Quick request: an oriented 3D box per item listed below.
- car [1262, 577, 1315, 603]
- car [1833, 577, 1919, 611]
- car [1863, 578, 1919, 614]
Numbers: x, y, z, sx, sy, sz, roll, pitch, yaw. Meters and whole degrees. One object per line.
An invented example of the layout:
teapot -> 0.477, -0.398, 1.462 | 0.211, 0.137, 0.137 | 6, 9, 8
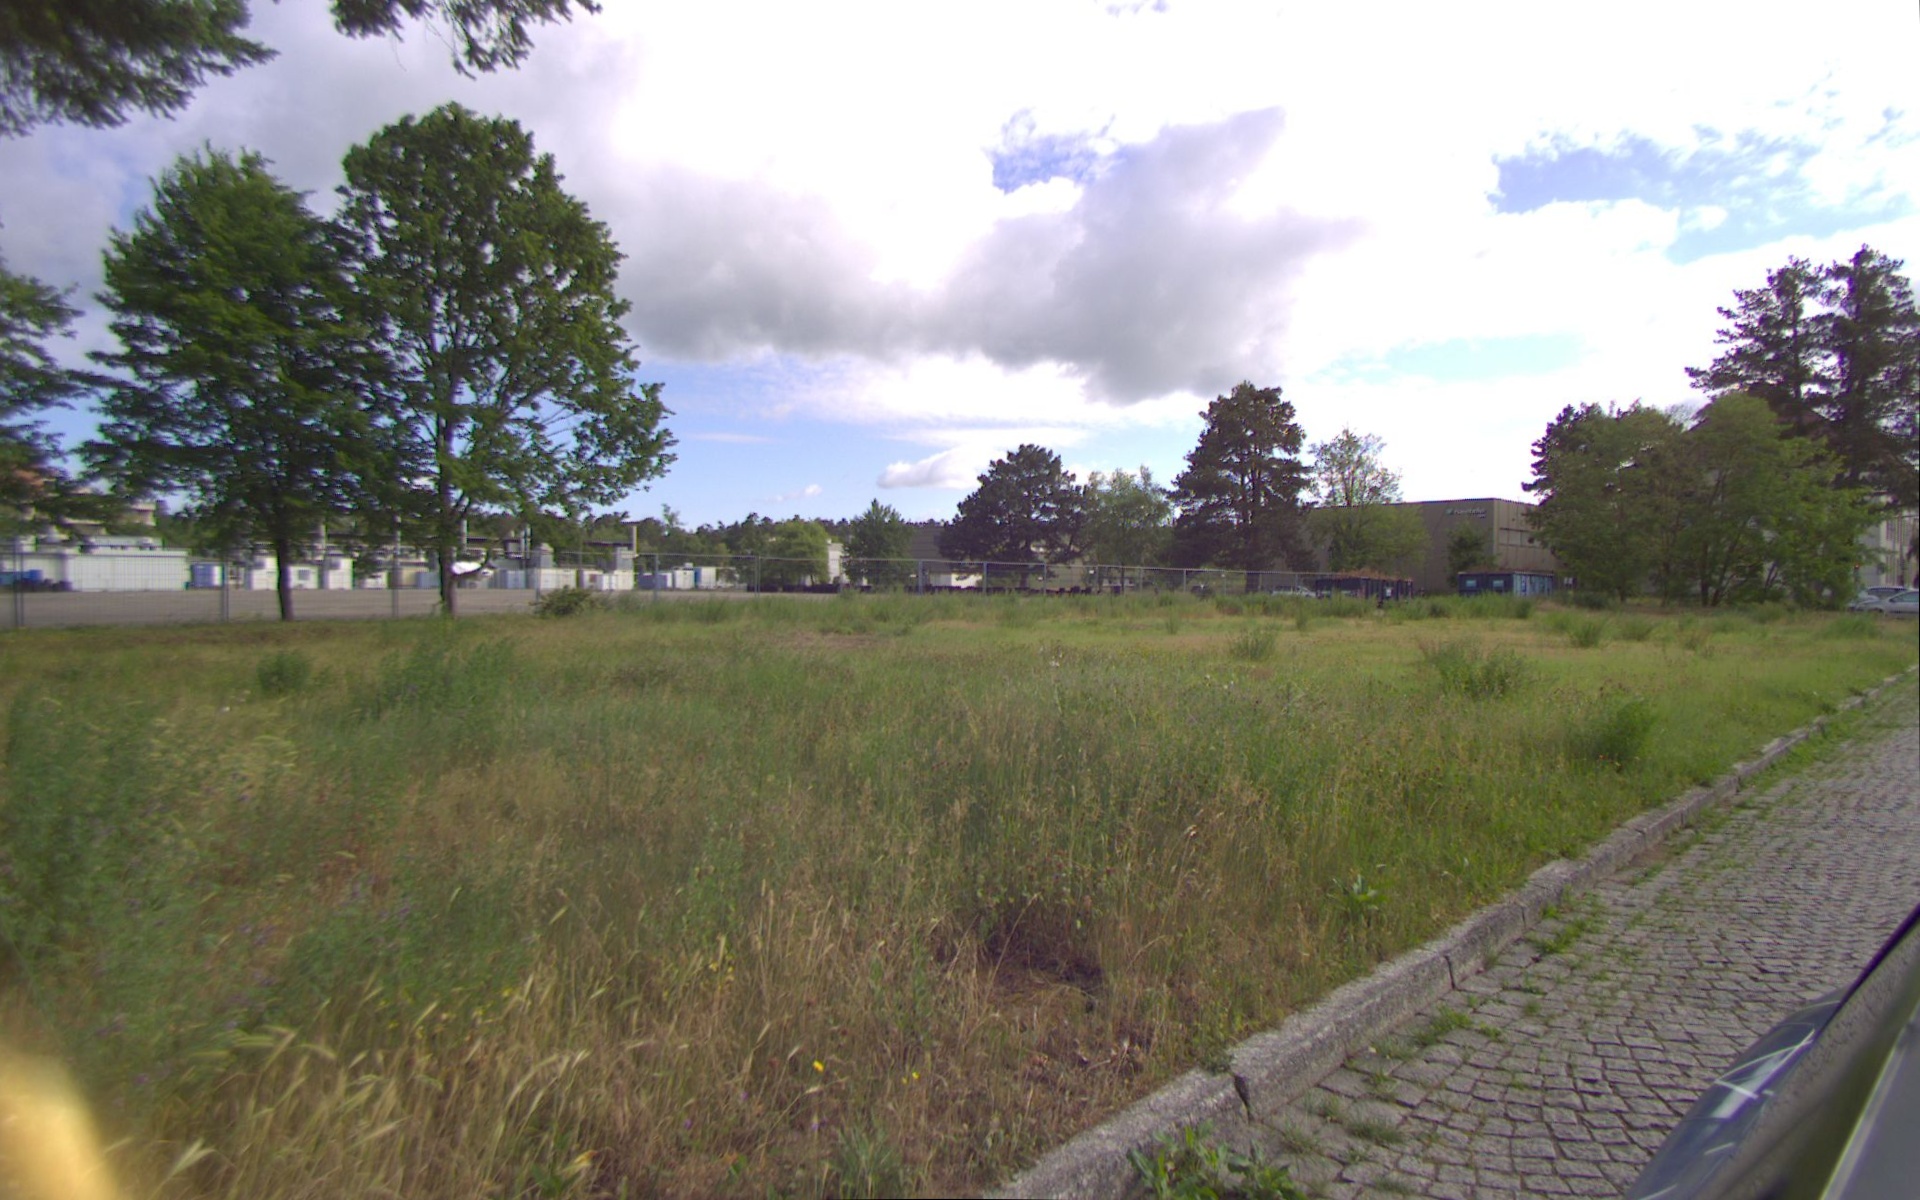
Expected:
car -> 26.674, -0.816, 82.323 | 3.707, 1.928, 1.996 | 2, 0, 7
car -> 42.853, -0.288, 46.779 | 3.714, 1.456, 1.603 | -2, 0, 41
car -> 40.068, -0.192, 42.047 | 3.719, 1.456, 1.601 | -1, 0, 44
